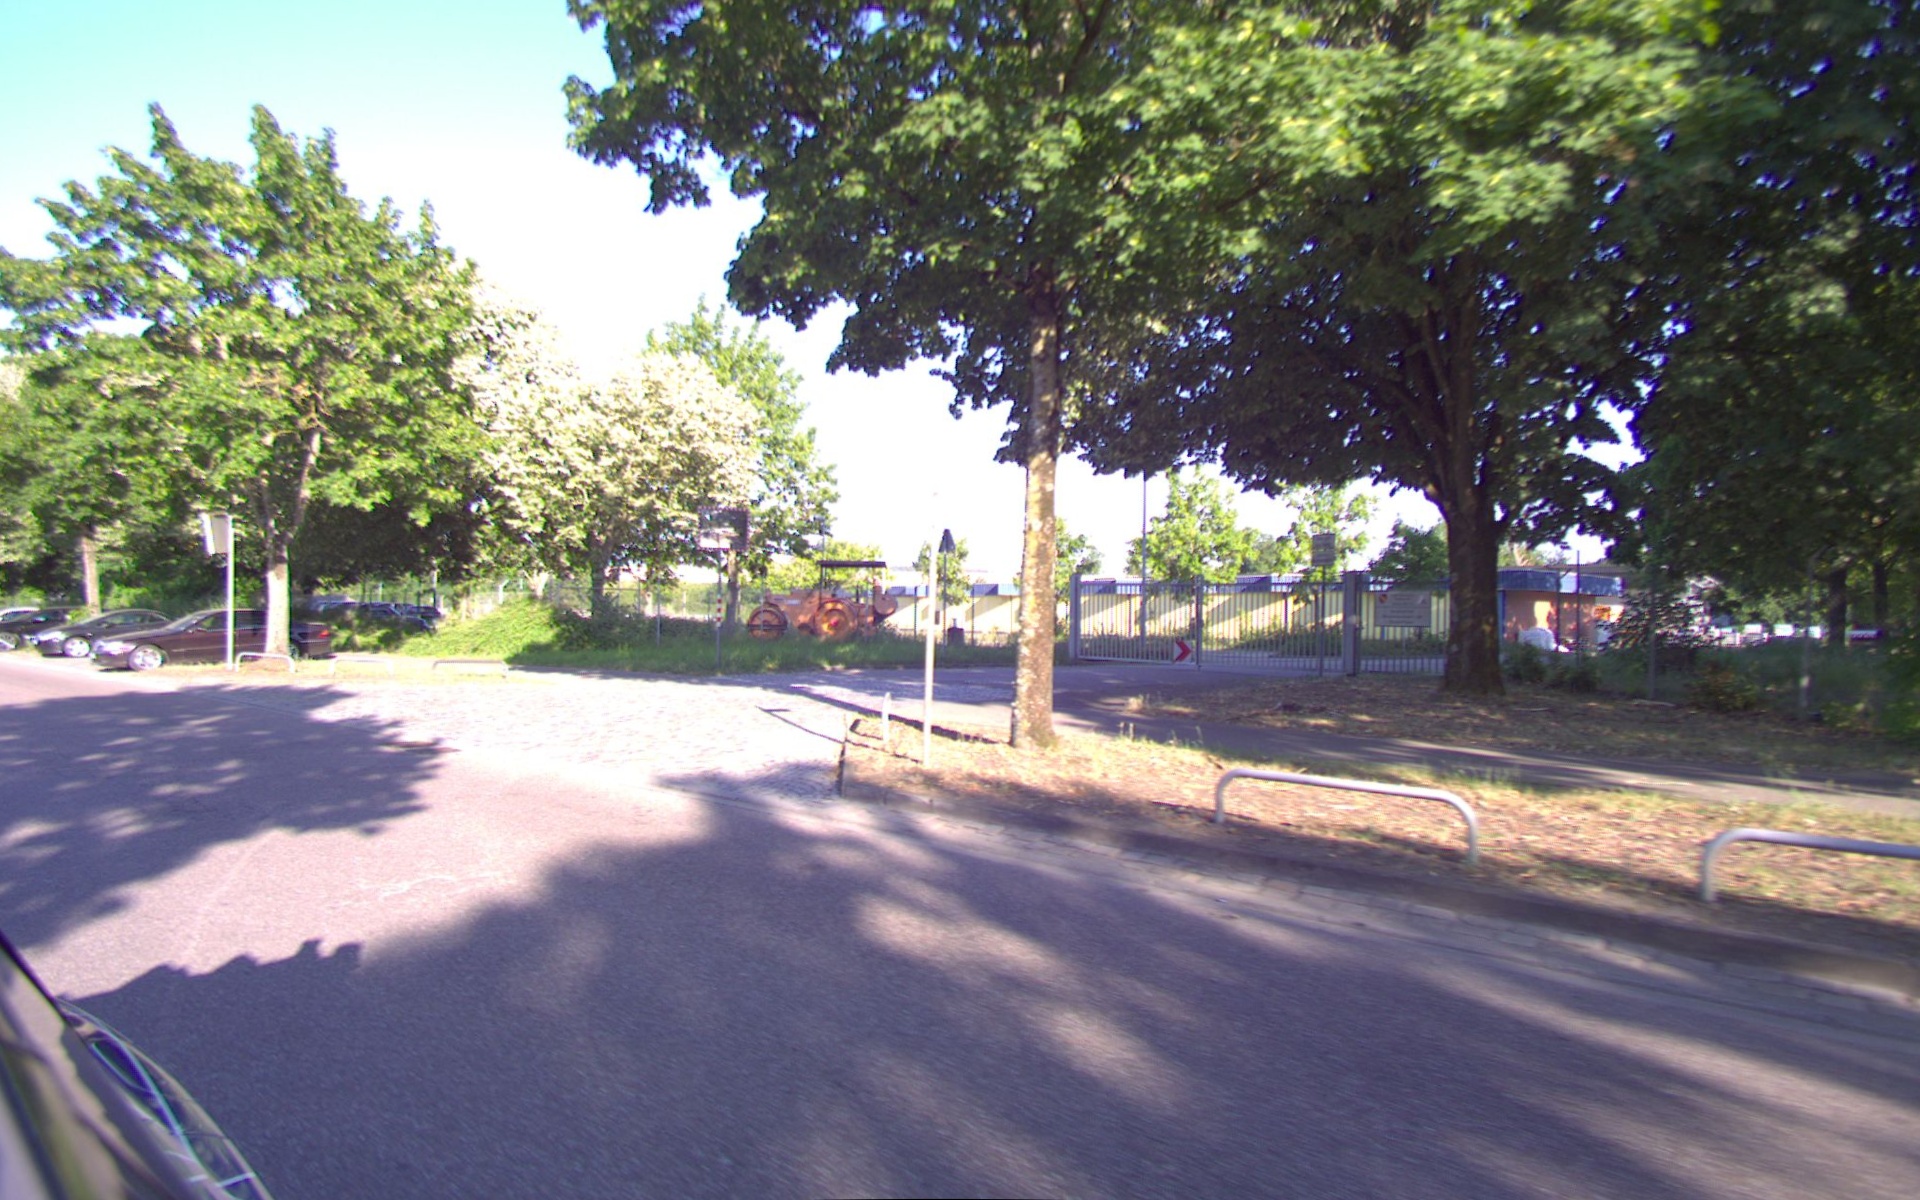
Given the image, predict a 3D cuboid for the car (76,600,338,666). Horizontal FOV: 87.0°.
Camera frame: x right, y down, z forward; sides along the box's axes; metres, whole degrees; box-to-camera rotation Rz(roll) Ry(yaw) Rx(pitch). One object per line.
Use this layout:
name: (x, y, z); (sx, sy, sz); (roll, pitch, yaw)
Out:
car: (-18.988, 0.769, 25.764); (1.996, 1.473, 4.990); (0, 0, 36)

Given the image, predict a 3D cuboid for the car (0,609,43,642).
car: (-43.491, 1.148, 44.339); (1.912, 1.432, 4.610); (0, 0, 34)

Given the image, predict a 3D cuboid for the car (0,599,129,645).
car: (-32.872, 0.754, 36.280); (1.996, 1.542, 4.439); (0, 0, 36)

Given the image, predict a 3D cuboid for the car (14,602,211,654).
car: (-26.639, 0.824, 31.931); (1.996, 1.473, 4.439); (0, 0, 36)

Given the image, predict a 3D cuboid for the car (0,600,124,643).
car: (-34.734, 0.780, 37.971); (1.994, 1.542, 4.811); (0, 0, 33)

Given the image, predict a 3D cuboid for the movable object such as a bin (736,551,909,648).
movable object such as a bin: (-3.934, 0.009, 29.685); (4.738, 2.685, 2.164); (1, -2, 1)

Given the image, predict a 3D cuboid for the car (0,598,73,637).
car: (-38.922, 0.703, 40.952); (1.997, 1.542, 4.247); (0, 0, 37)

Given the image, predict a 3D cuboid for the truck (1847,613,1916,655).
truck: (59.303, 2.173, 65.135); (4.920, 2.604, 2.296); (2, -2, -36)
